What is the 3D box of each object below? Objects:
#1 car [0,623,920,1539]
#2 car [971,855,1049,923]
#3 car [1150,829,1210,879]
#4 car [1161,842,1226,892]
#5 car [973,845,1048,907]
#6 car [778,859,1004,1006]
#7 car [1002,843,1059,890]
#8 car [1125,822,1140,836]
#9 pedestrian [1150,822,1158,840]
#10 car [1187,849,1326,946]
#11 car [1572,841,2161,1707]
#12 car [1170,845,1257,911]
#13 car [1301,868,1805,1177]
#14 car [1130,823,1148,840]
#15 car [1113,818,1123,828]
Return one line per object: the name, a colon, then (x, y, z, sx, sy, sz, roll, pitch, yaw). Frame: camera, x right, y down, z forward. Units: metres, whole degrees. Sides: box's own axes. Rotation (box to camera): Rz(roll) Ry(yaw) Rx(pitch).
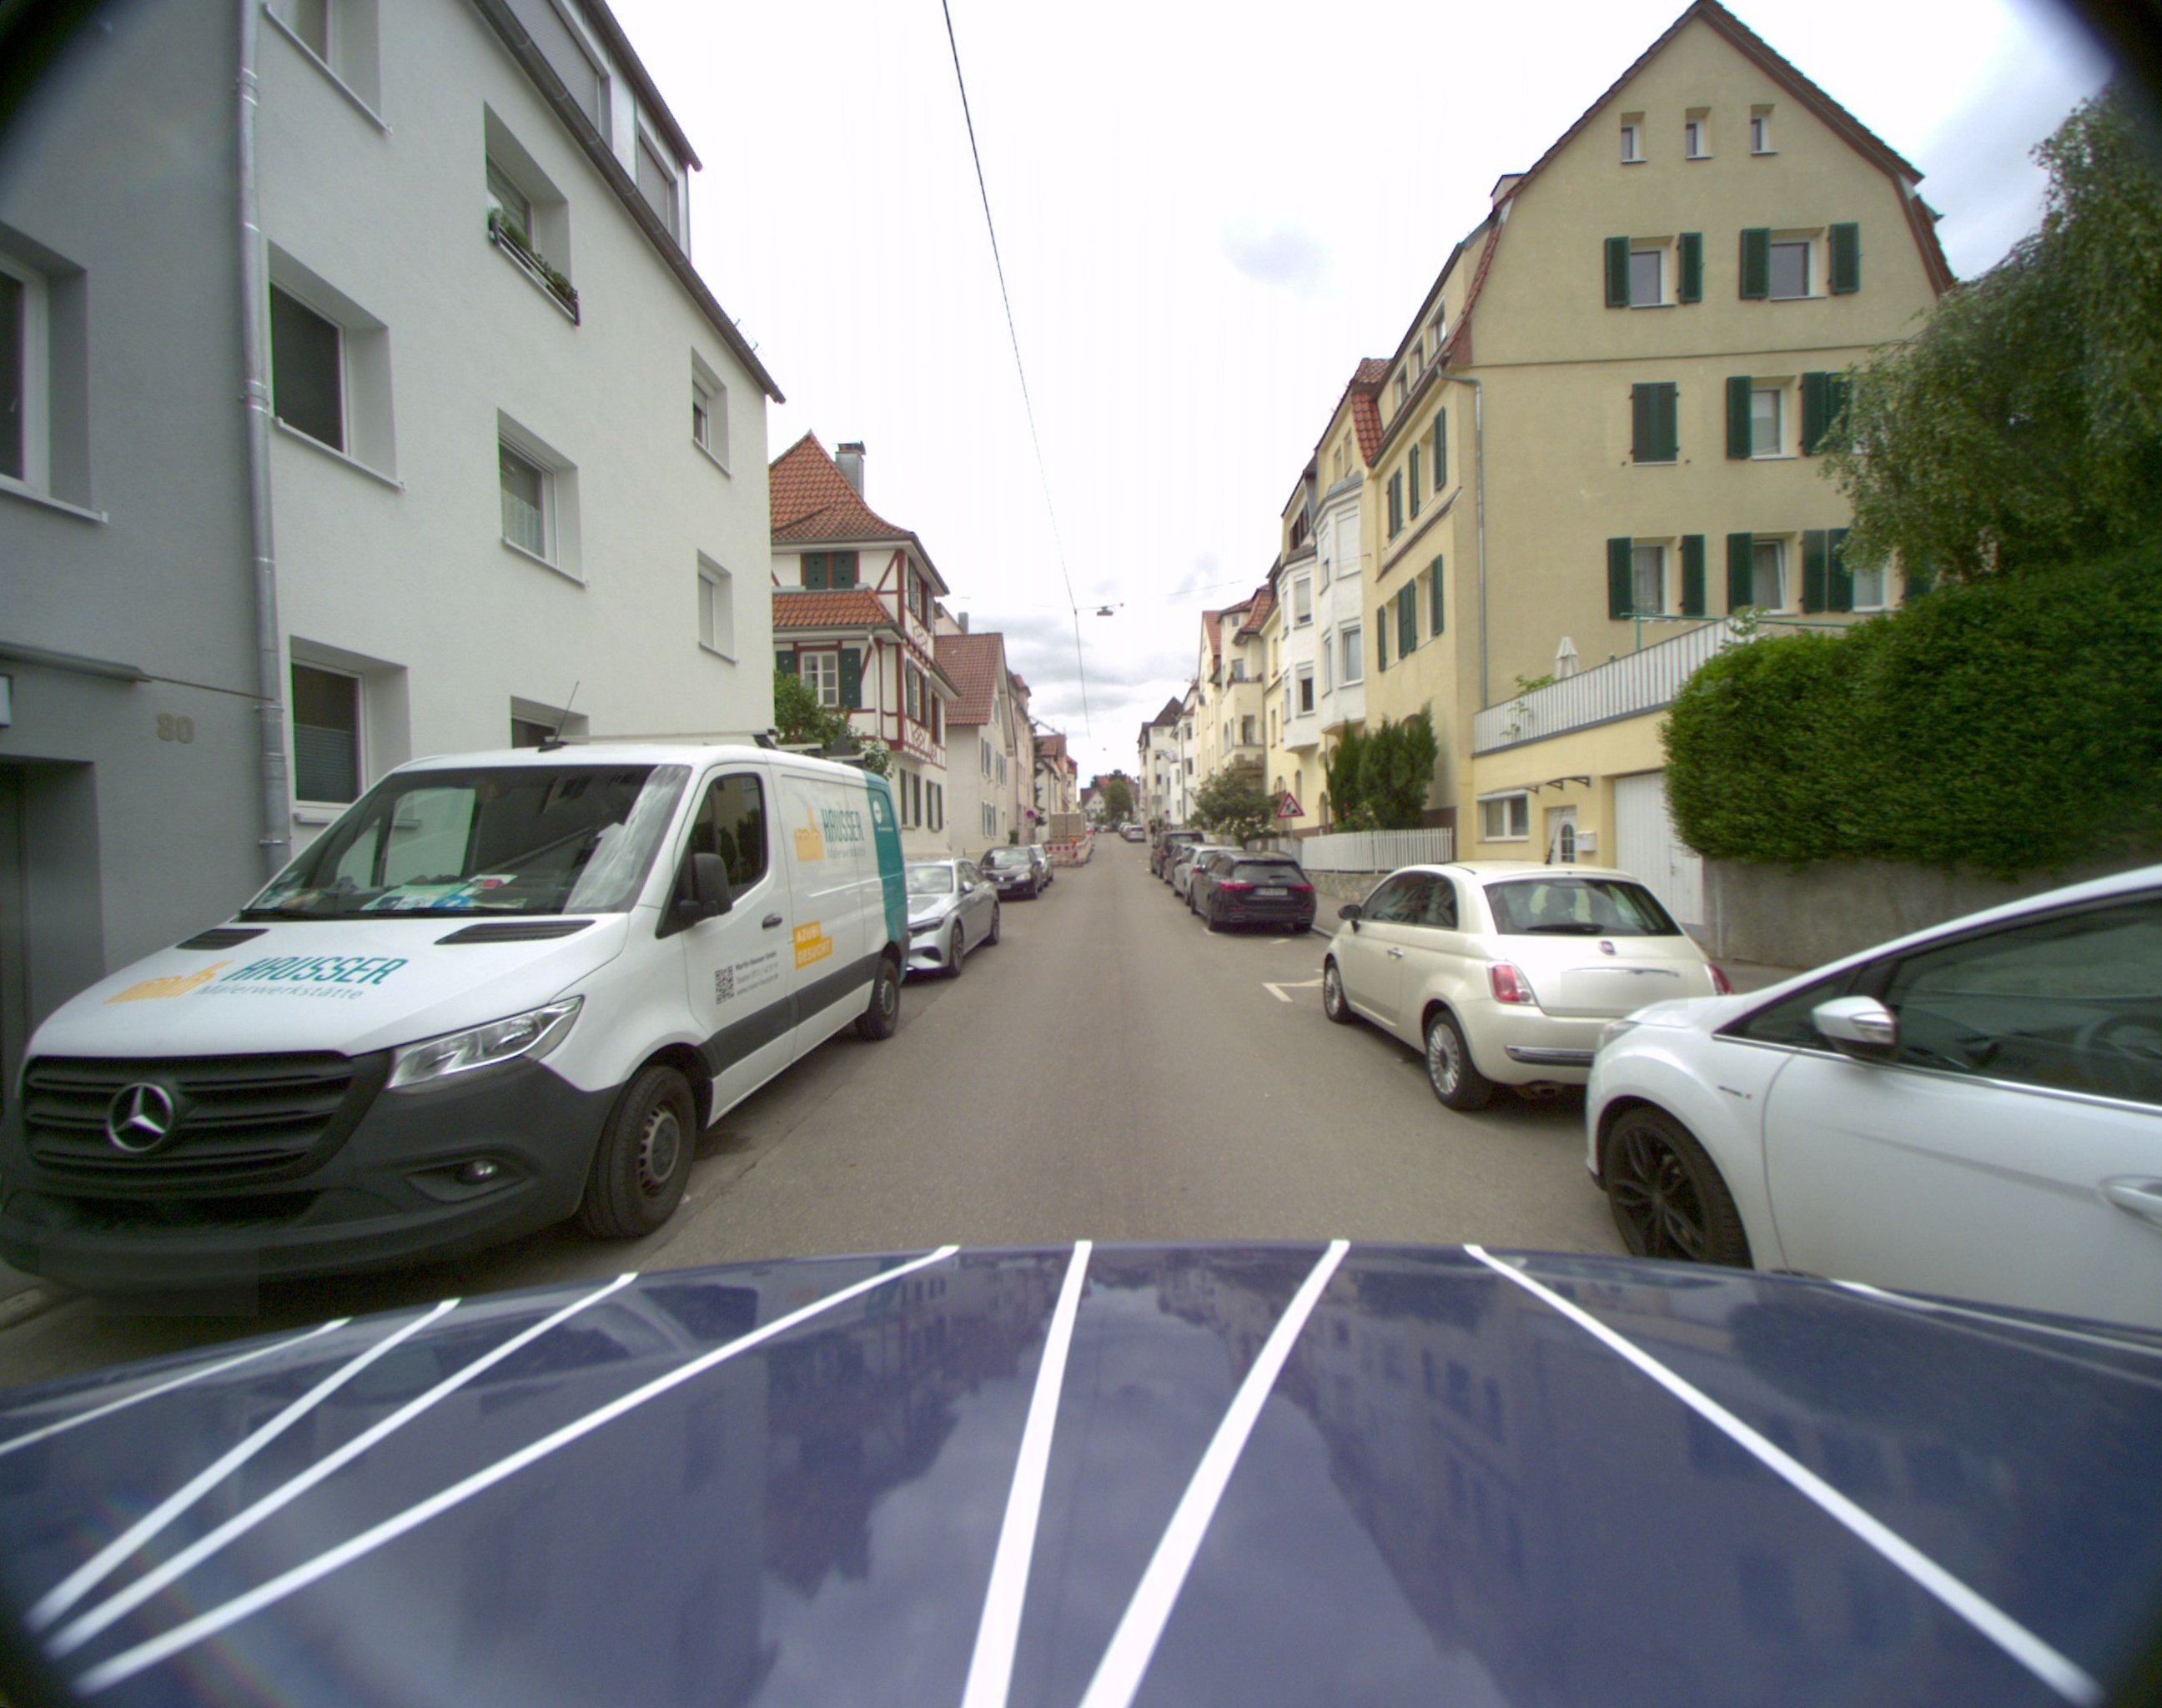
car: (-2.700, 0.564, 4.662, 1.998, 2.408, 5.292, -1, 2, 3)
car: (-1.948, 0.923, 21.948, 1.781, 1.710, 4.000, -2, 0, 0)
car: (3.761, -0.065, 29.593, 1.753, 1.787, 4.147, 0, 3, -1)
car: (3.588, 0.360, 24.793, 1.643, 1.391, 3.702, 1, 3, 1)
car: (-1.957, 0.555, 22.130, 1.609, 1.481, 4.022, -3, 2, 2)
car: (-2.362, 0.906, 10.734, 1.829, 1.437, 4.382, -2, 2, 3)
car: (-1.721, 0.386, 27.002, 1.629, 1.385, 4.235, -3, 2, 1)
car: (6.173, -2.968, 90.969, 1.782, 1.558, 3.999, -1, 3, 3)
pedestrian: (6.785, -2.137, 70.869, 0.617, 1.647, 0.812, -3, 2, 3)
car: (3.201, 0.706, 14.727, 1.807, 1.472, 4.328, -1, 2, 2)
car: (2.811, 0.786, 0.931, 1.808, 1.649, 4.151, -1, 0, 2)
car: (3.352, 0.541, 19.891, 1.643, 1.421, 4.122, 0, 2, 2)
car: (2.959, 0.911, 5.751, 1.611, 1.445, 3.613, 1, 1, 2)
car: (5.624, -2.205, 73.833, 1.663, 1.558, 3.999, -1, 3, 3)
car: (6.462, -5.446, 133.082, 1.782, 1.558, 3.999, -2, 3, 3)
